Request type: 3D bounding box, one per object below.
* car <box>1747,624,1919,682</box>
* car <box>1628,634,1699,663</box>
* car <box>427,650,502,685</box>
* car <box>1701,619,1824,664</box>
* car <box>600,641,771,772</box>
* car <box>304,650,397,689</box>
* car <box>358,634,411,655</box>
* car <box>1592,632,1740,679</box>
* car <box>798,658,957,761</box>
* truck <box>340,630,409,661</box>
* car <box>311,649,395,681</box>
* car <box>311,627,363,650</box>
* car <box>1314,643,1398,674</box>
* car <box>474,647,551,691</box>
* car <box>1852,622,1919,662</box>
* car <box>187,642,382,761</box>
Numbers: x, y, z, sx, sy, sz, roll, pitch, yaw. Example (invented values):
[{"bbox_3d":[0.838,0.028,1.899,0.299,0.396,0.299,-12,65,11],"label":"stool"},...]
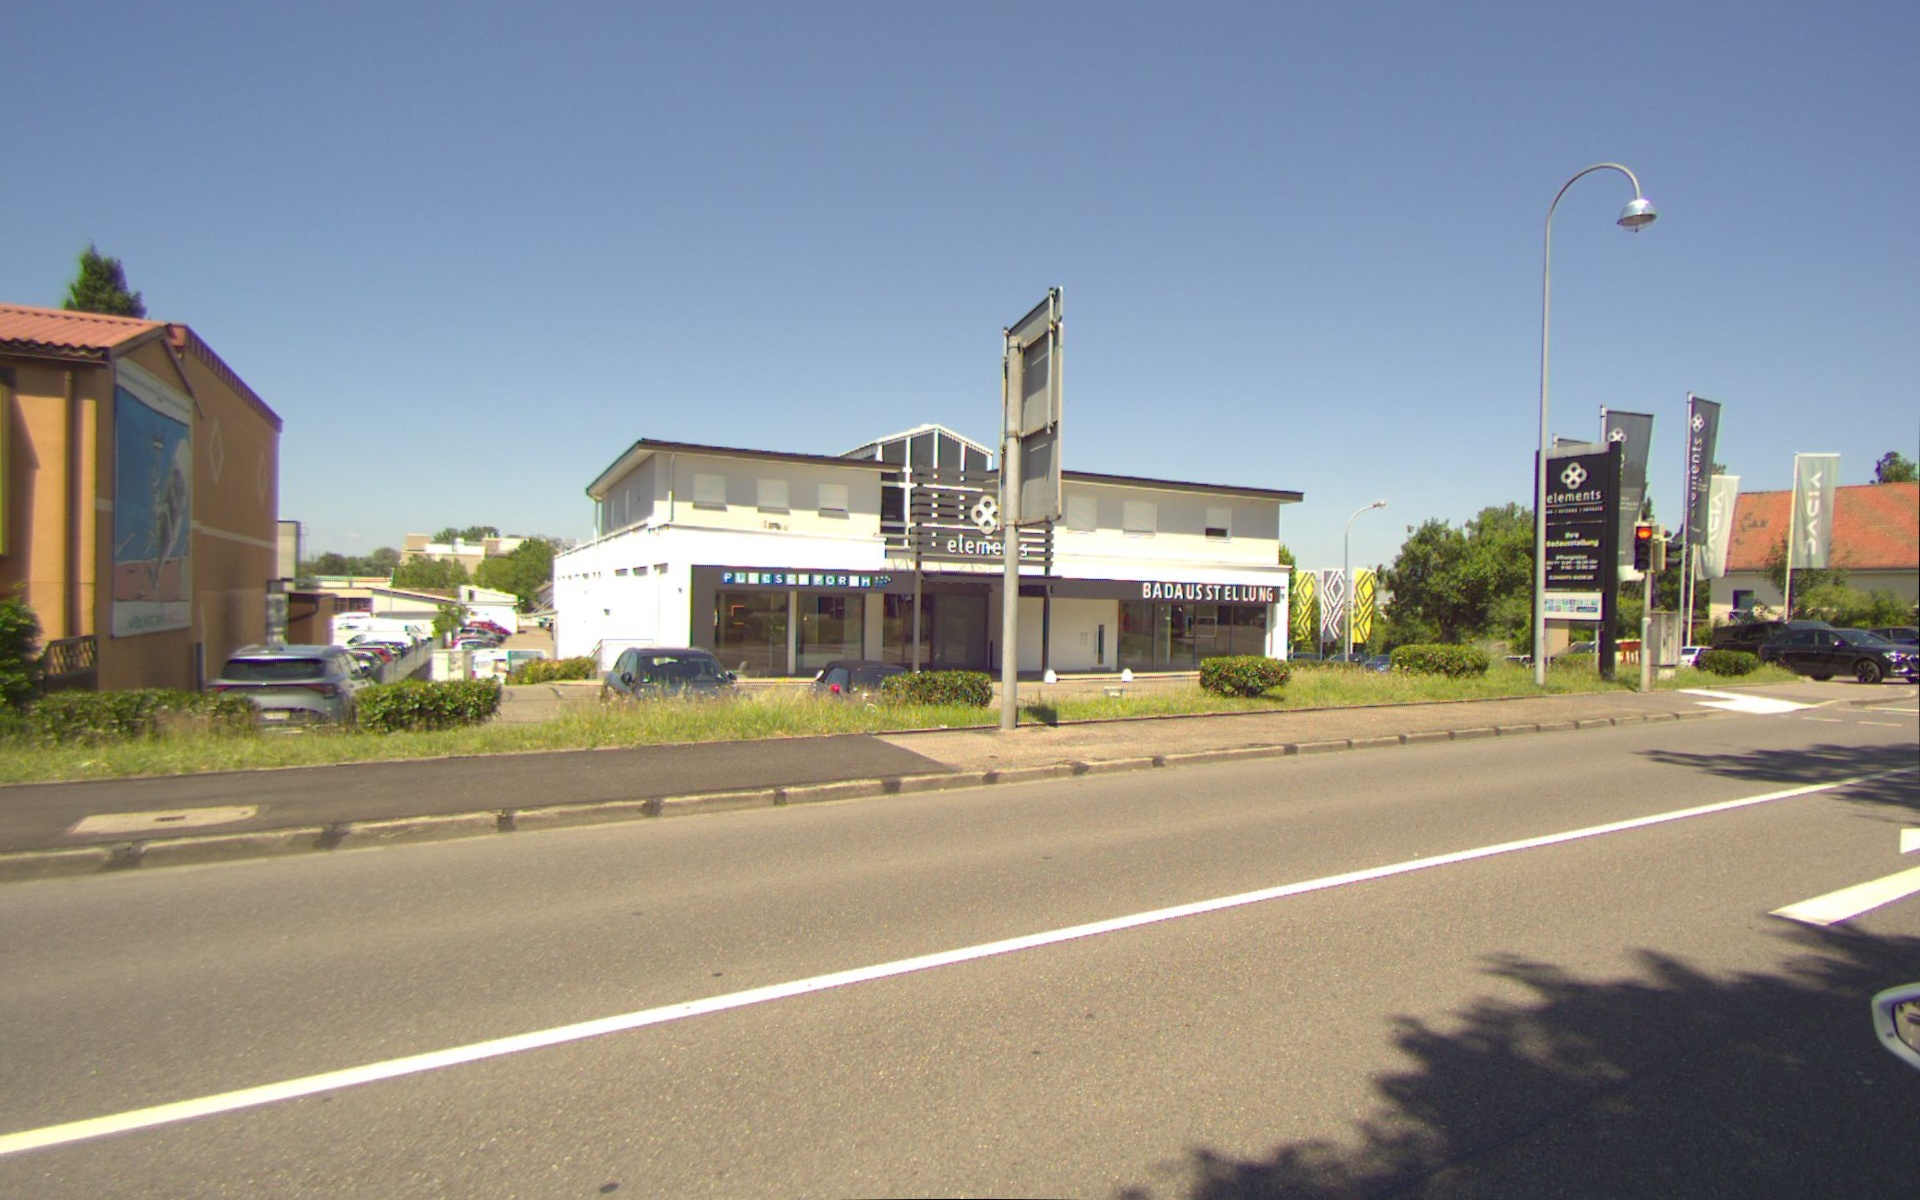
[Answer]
[{"bbox_3d":[25.686,1.514,29.160,1.894,1.546,4.300,1,-2,-11],"label":"car"},{"bbox_3d":[32.866,2.258,46.916,3.210,1.242,1.736,1,0,-34],"label":"car"},{"bbox_3d":[-28.153,3.806,57.083,3.769,1.817,1.766,1,0,-30],"label":"car"},{"bbox_3d":[31.315,1.577,39.264,1.585,1.638,3.467,1,-1,-36],"label":"car"},{"bbox_3d":[-4.731,1.638,16.862,1.871,1.709,4.314,2,0,-28],"label":"car"},{"bbox_3d":[-29.994,3.397,49.557,3.772,1.750,1.739,2,0,-30],"label":"car"},{"bbox_3d":[-38.032,2.922,66.421,3.008,1.316,1.296,2,0,-30],"label":"car"},{"bbox_3d":[26.071,1.996,37.154,4.250,1.507,1.988,0,-1,44],"label":"car"},{"bbox_3d":[-1.556,1.851,17.869,1.756,1.442,3.327,1,0,-25],"label":"car"},{"bbox_3d":[-39.852,3.099,68.448,3.937,2.003,1.672,2,0,-30],"label":"truck"},{"bbox_3d":[-34.263,3.640,56.825,3.952,1.657,1.835,2,-1,-30],"label":"car"},{"bbox_3d":[-45.061,2.787,72.673,3.089,1.554,1.673,2,0,-30],"label":"car"},{"bbox_3d":[21.194,3.110,53.861,1.736,1.432,3.968,2,0,-30],"label":"car"},{"bbox_3d":[-22.988,3.514,51.742,1.838,1.965,3.790,1,0,9],"label":"car"},{"bbox_3d":[35.113,1.541,36.759,1.585,1.446,3.467,1,-1,-36],"label":"car"},{"bbox_3d":[-10.310,1.448,15.649,1.755,1.470,4.018,1,-1,-23],"label":"car"}]
